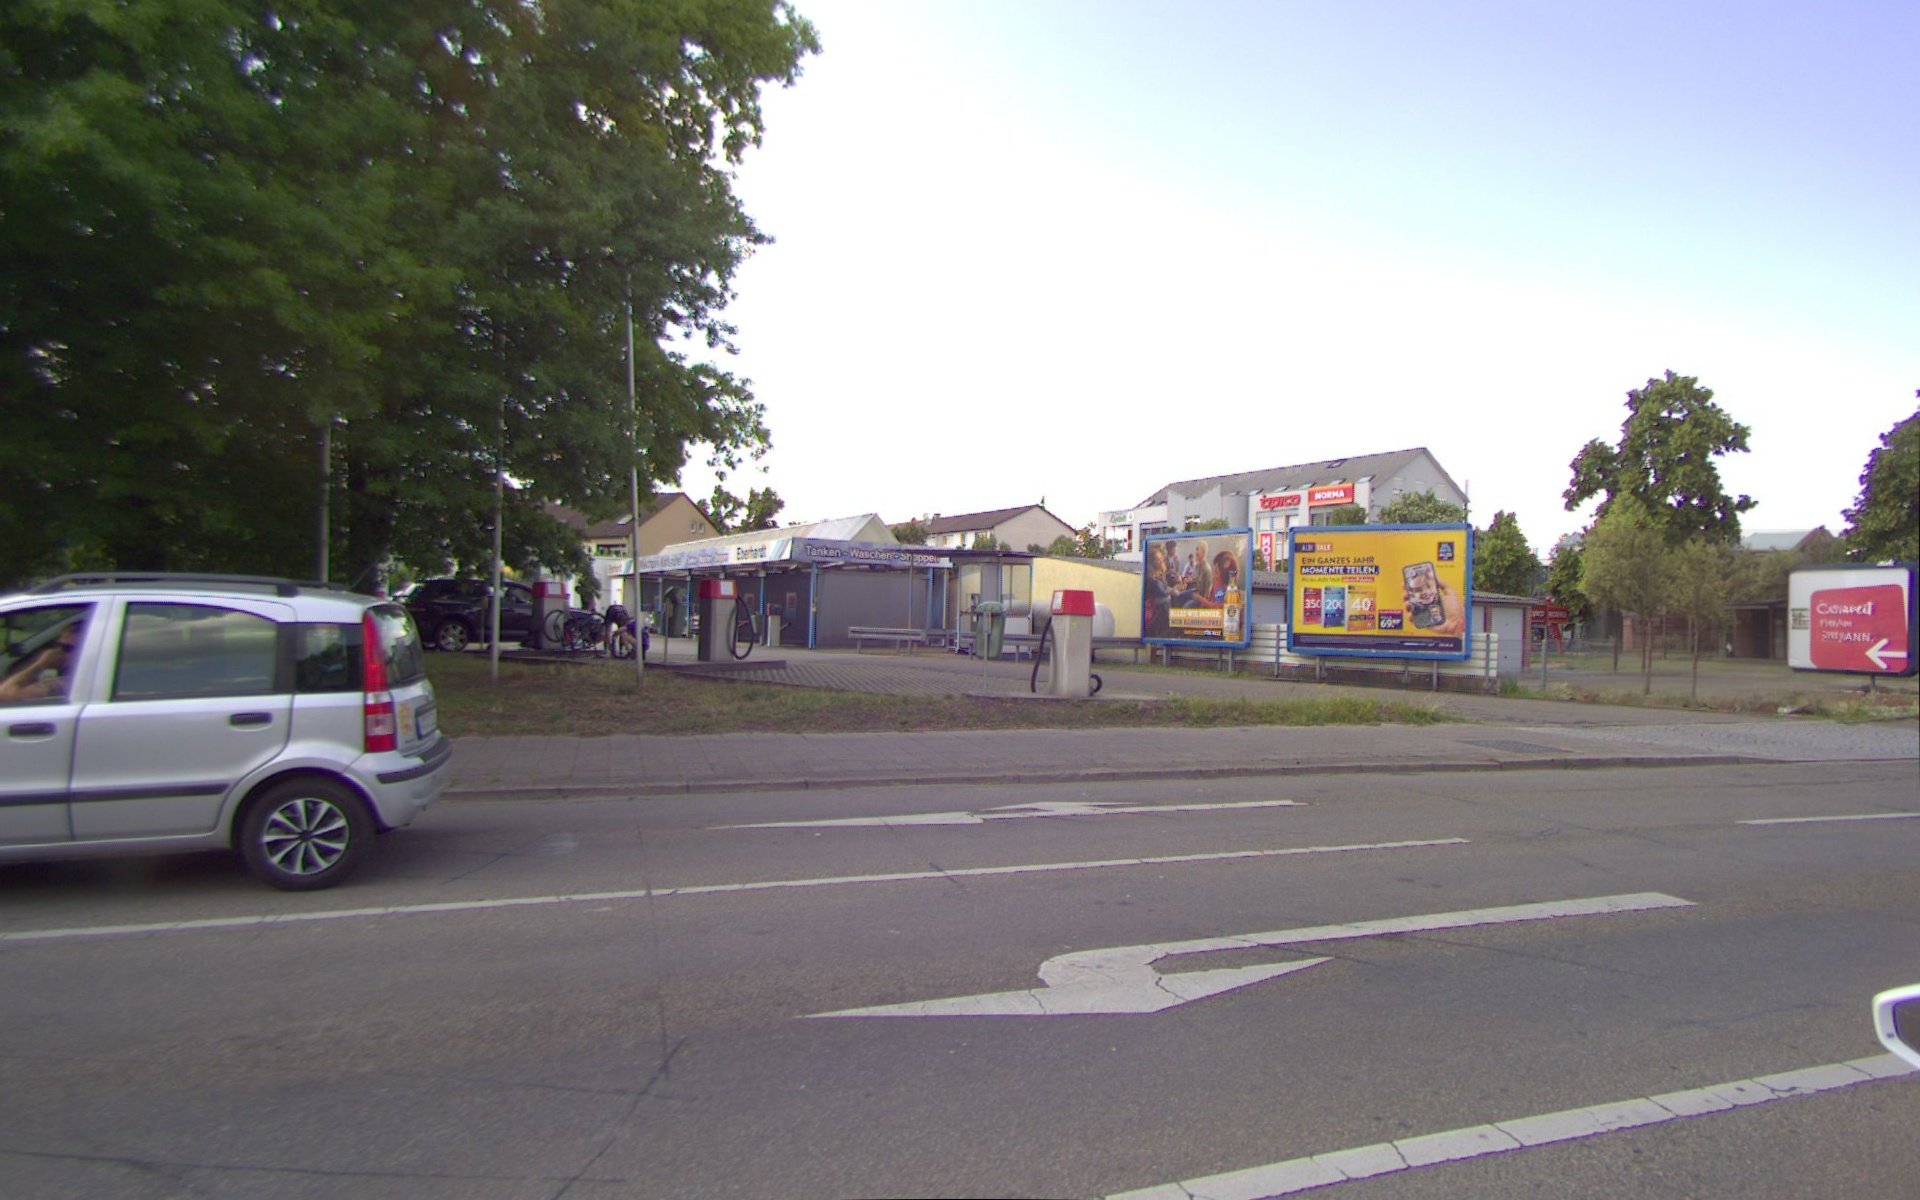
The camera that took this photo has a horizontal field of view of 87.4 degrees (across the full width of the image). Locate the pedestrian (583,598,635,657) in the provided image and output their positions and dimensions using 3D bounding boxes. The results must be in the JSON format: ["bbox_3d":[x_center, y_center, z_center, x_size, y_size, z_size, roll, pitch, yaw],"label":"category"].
[{"bbox_3d":[-7.485,0.601,21.444,0.751,1.205,0.646,2,-2,14],"label":"pedestrian"}]

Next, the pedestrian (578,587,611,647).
[{"bbox_3d":[-9.547,0.448,26.210,0.558,1.514,0.613,5,-3,-40],"label":"pedestrian"}]

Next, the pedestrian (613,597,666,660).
[{"bbox_3d":[-6.699,0.601,21.019,0.751,1.272,0.646,2,-2,14],"label":"pedestrian"}]

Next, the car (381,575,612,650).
[{"bbox_3d":[-10.917,0.331,23.855,4.532,1.617,2.126,2,-1,-43],"label":"car"}]

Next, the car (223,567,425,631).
[{"bbox_3d":[-20.283,0.012,32.190,5.161,1.851,2.126,2,-1,-43],"label":"car"}]

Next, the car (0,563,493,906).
[{"bbox_3d":[-4.501,0.606,5.242,3.554,1.537,1.552,2,-1,-20],"label":"car"}]

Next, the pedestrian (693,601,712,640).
[{"bbox_3d":[-10.621,0.843,41.398,0.647,1.565,0.620,2,-1,-26],"label":"pedestrian"}]

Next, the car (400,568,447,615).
[{"bbox_3d":[-30.305,-0.449,56.700,1.738,2.486,5.696,2,-1,-34],"label":"car"}]
